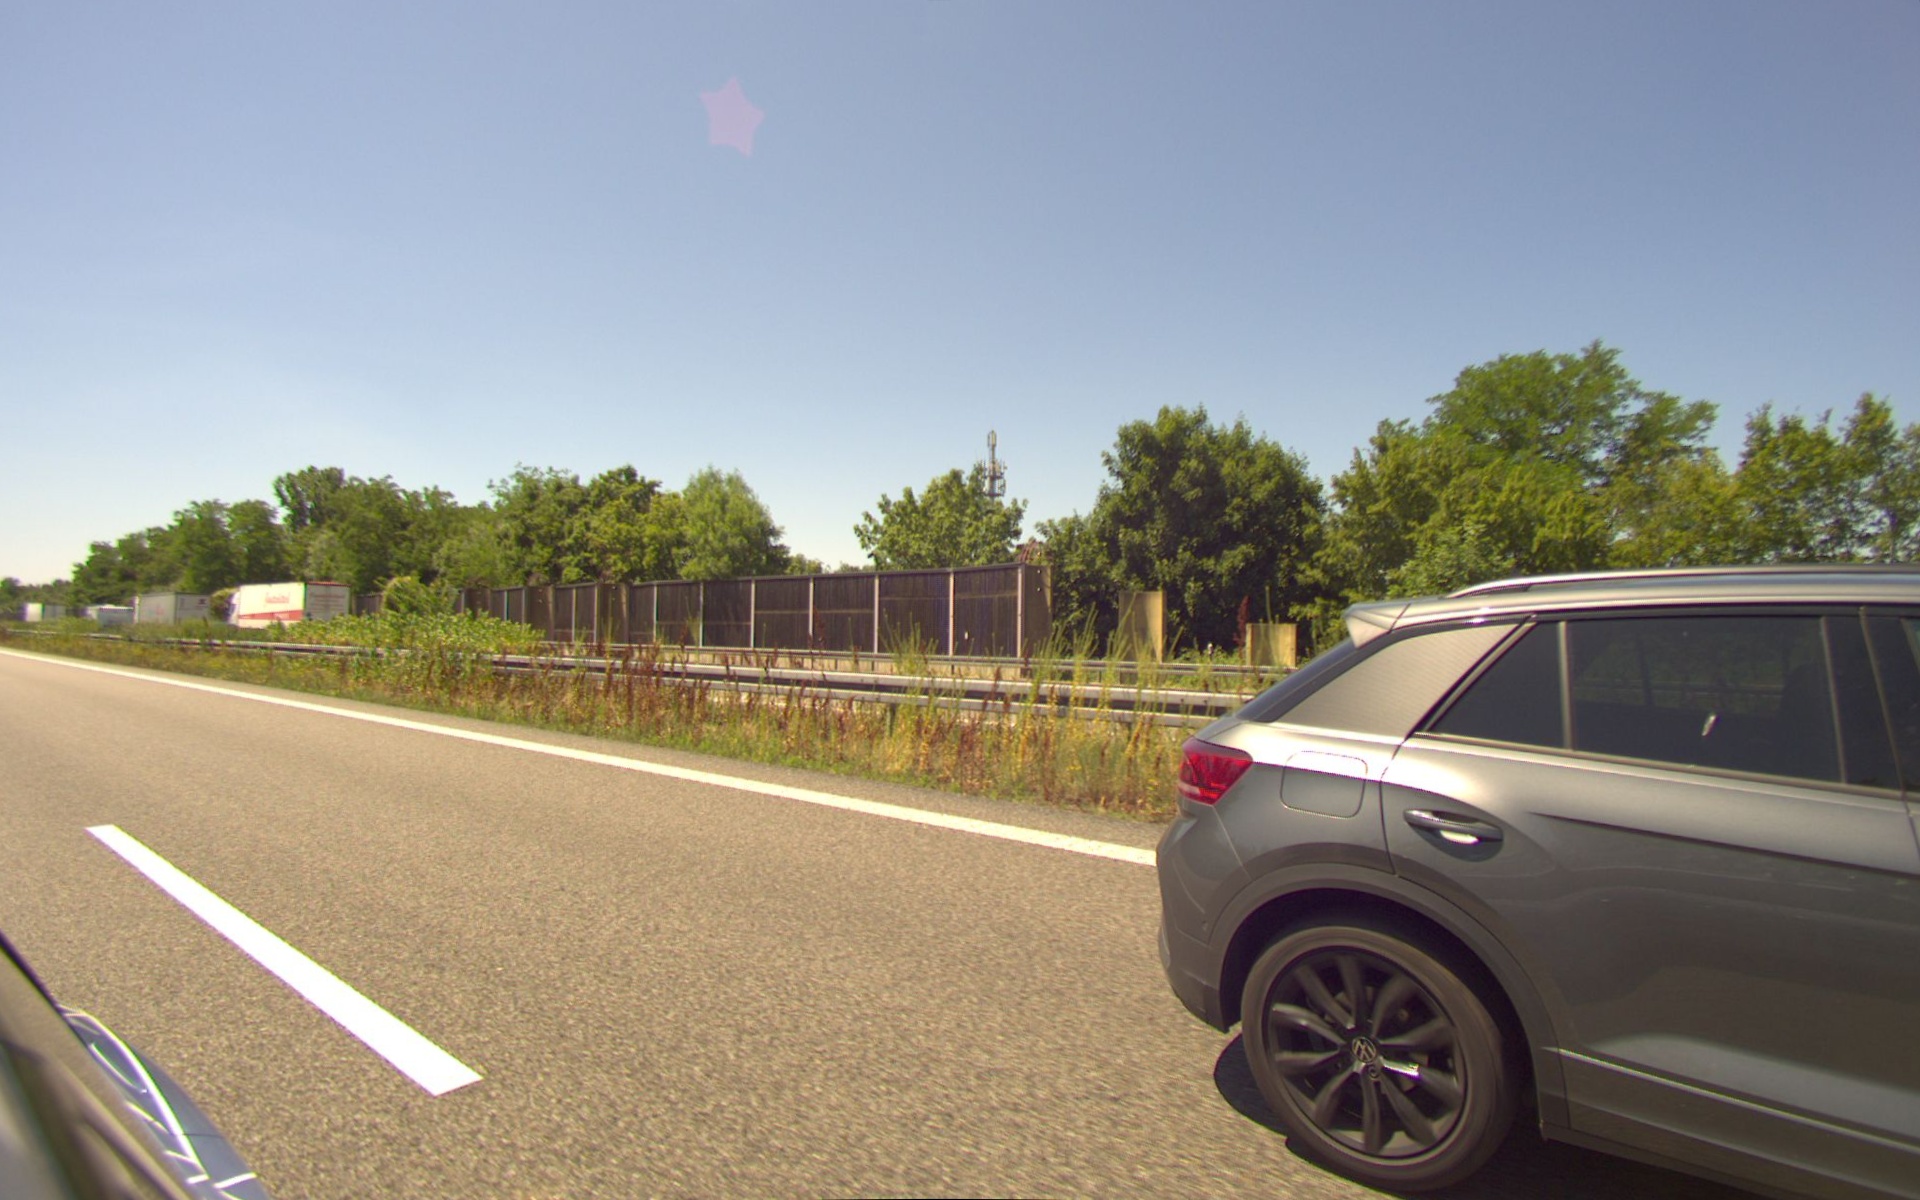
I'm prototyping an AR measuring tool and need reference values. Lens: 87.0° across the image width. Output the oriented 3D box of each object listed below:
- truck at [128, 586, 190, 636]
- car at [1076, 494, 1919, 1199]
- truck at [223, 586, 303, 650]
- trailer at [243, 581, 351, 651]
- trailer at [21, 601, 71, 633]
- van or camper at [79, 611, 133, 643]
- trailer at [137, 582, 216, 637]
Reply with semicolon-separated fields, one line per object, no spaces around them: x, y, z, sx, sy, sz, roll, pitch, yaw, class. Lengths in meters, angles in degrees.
-74.009;1.058;93.430;7.867;4.473;3.183;-1;-1;42;truck
2.851;0.625;2.027;5.004;1.652;1.861;-3;-2;40;car
-48.472;1.256;70.286;7.712;4.239;2.812;-2;-1;42;truck
-43.082;1.084;65.496;12.216;4.205;2.812;-2;-1;42;trailer
-124.765;2.420;138.009;12.791;4.135;3.572;-2;-3;42;trailer
-72.447;2.276;85.822;7.408;2.596;2.439;-1;-1;42;van or camper
-68.808;0.925;88.749;12.948;4.512;3.133;-1;-1;42;trailer
